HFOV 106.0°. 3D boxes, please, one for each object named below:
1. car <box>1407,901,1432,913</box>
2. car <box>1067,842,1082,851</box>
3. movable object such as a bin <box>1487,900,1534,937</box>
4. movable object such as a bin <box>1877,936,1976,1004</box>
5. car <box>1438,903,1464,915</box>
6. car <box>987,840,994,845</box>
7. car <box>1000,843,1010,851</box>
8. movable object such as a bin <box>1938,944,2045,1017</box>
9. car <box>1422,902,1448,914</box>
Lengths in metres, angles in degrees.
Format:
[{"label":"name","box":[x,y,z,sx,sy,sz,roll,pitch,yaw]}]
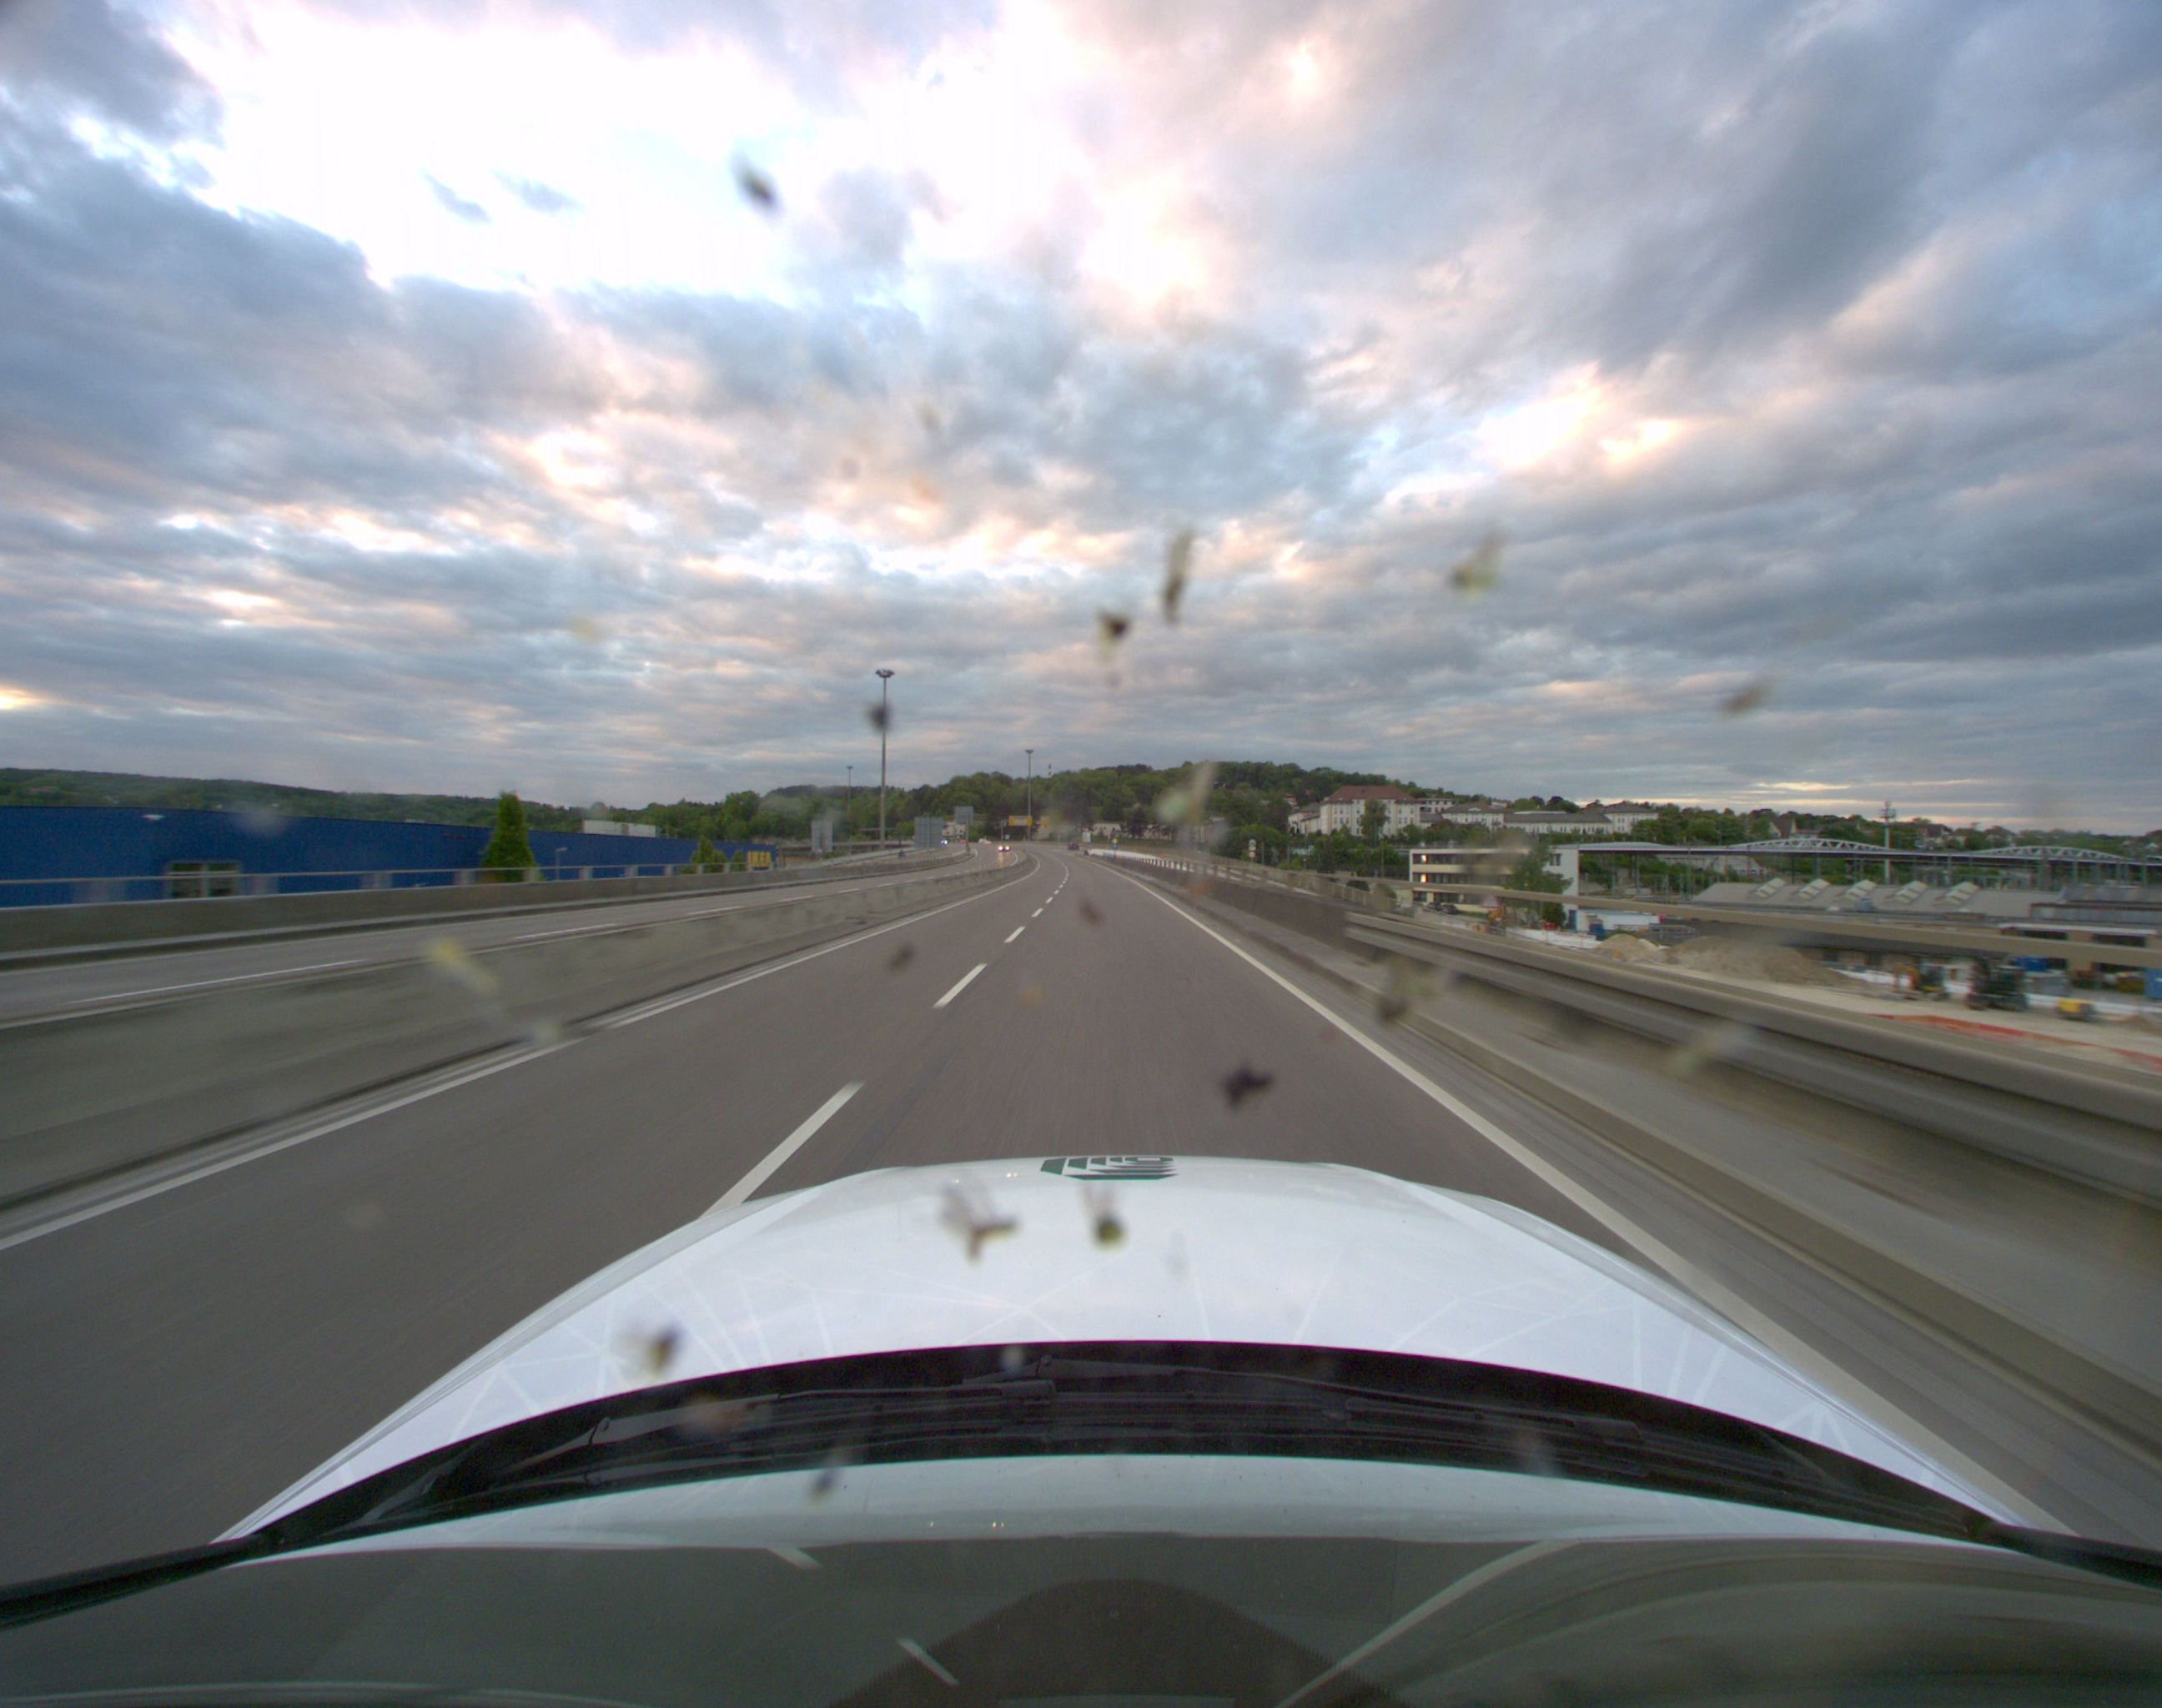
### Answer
[{"label":"car","box":[55.293,8.642,133.064,4.014,1.565,1.813,4,2,-34]},{"label":"car","box":[-1.319,-1.555,170.353,2.307,1.763,4.243,1,1,-13]},{"label":"movable object such as a bin","box":[57.854,8.636,109.850,2.777,4.310,4.938,6,0,-11]},{"label":"movable object such as a bin","box":[62.229,8.511,60.004,4.948,4.310,2.772,6,0,-14]},{"label":"car","box":[57.352,8.593,126.192,4.014,1.565,1.813,4,2,-34]},{"label":"car","box":[-27.449,-3.588,247.042,1.634,1.387,3.979,-1,2,-16]},{"label":"car","box":[-15.032,-1.296,161.068,1.828,1.480,4.276,-1,0,-7]},{"label":"movable object such as a bin","box":[62.991,8.736,56.396,4.948,4.310,2.772,6,0,-14]},{"label":"car","box":[56.425,8.617,129.912,4.014,1.565,1.813,4,2,-34]}]
